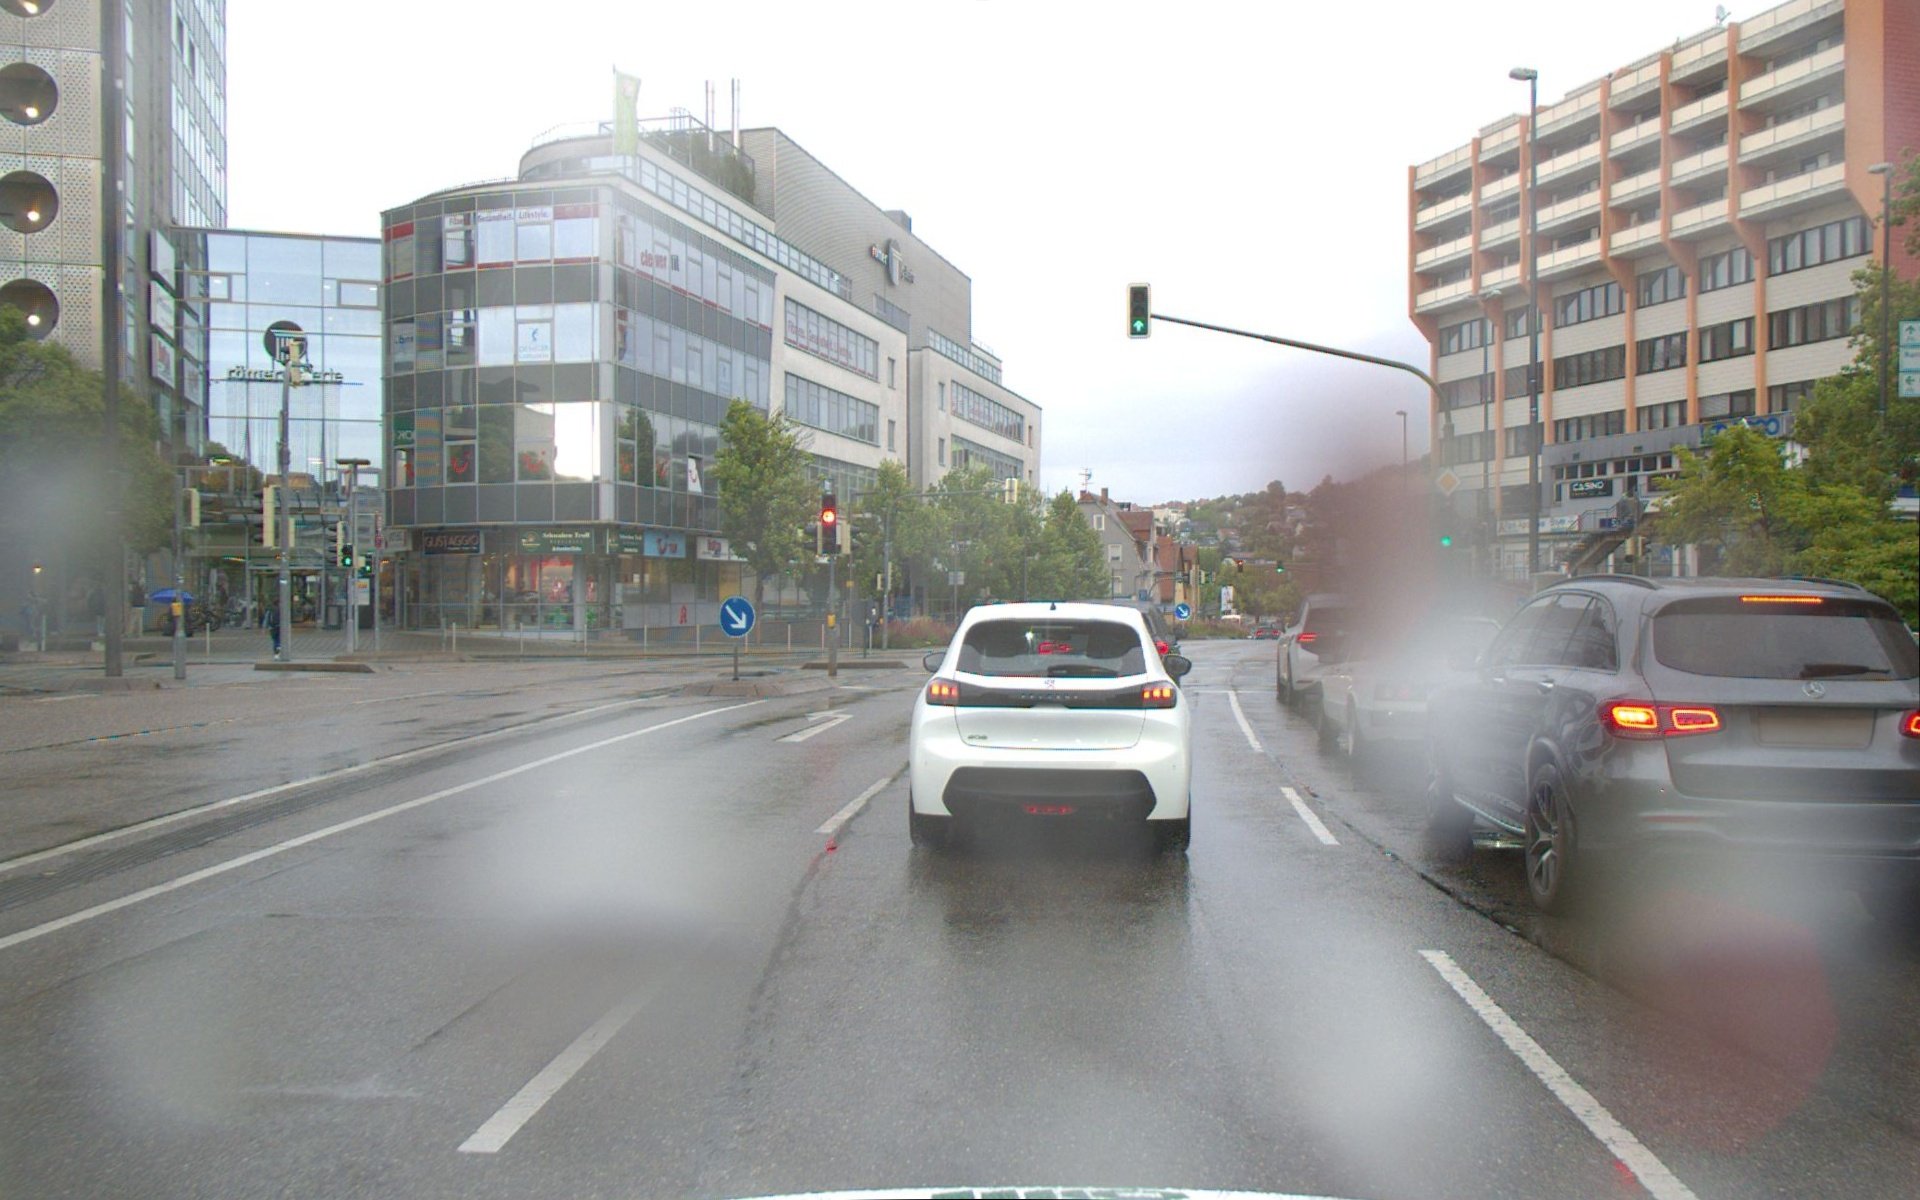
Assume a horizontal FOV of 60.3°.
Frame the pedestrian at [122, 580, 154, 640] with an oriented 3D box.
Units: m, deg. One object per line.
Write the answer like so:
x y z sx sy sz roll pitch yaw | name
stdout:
-28.532 0.341 57.419 0.698 2.049 0.765 1 0 -3 | pedestrian

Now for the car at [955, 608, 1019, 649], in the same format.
1.212 1.192 71.860 1.879 1.660 4.907 1 0 12 | car

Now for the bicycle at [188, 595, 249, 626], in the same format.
-30.565 0.438 68.199 2.238 1.268 0.673 0 -1 -18 | bicycle

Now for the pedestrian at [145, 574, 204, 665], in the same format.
-18.068 0.430 38.084 1.146 2.049 1.319 1 0 -23 | pedestrian

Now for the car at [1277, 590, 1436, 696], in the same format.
5.687 0.597 24.100 1.871 1.425 3.460 0 0 7 | car

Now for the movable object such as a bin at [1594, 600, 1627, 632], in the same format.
28.471 0.716 72.395 1.106 1.355 1.455 -3 -2 13 | movable object such as a bin

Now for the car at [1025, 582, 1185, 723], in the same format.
1.845 0.588 20.534 1.777 1.556 3.815 1 0 7 | car

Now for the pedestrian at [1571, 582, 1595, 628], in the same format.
22.896 0.184 60.818 0.693 1.635 0.656 4 1 19 | pedestrian

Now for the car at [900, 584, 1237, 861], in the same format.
0.734 0.672 11.063 1.832 1.487 3.875 1 0 4 | car

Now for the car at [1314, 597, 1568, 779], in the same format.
4.468 0.736 15.945 1.599 1.473 4.271 2 0 6 | car

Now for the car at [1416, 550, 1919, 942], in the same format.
3.923 0.618 9.205 1.861 1.649 4.338 1 0 4 | car

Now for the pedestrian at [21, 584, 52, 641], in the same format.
-31.259 0.425 55.985 0.747 1.901 0.820 0 0 -44 | pedestrian

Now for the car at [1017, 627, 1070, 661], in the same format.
4.351 2.252 85.485 1.736 1.622 4.591 -4 -2 14 | car

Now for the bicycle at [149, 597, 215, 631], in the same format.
-29.841 0.529 63.472 2.238 1.268 0.673 0 -1 -18 | bicycle

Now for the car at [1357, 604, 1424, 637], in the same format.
29.947 1.434 115.311 1.966 2.265 4.942 -1 -1 -22 | car

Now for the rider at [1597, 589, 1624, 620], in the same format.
28.423 0.200 72.316 0.902 1.307 1.091 -3 0 13 | rider

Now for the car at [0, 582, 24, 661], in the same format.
-21.677 0.402 33.705 4.118 1.623 1.865 1 0 -12 | car

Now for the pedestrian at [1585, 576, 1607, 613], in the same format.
23.491 -0.203 61.068 0.693 1.369 0.656 -1 -1 17 | pedestrian

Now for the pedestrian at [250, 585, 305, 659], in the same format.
-17.303 0.559 41.939 0.827 1.851 1.025 -1 -1 15 | pedestrian

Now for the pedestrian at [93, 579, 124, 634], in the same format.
-29.542 0.230 57.381 0.817 1.901 0.750 0 0 -17 | pedestrian
